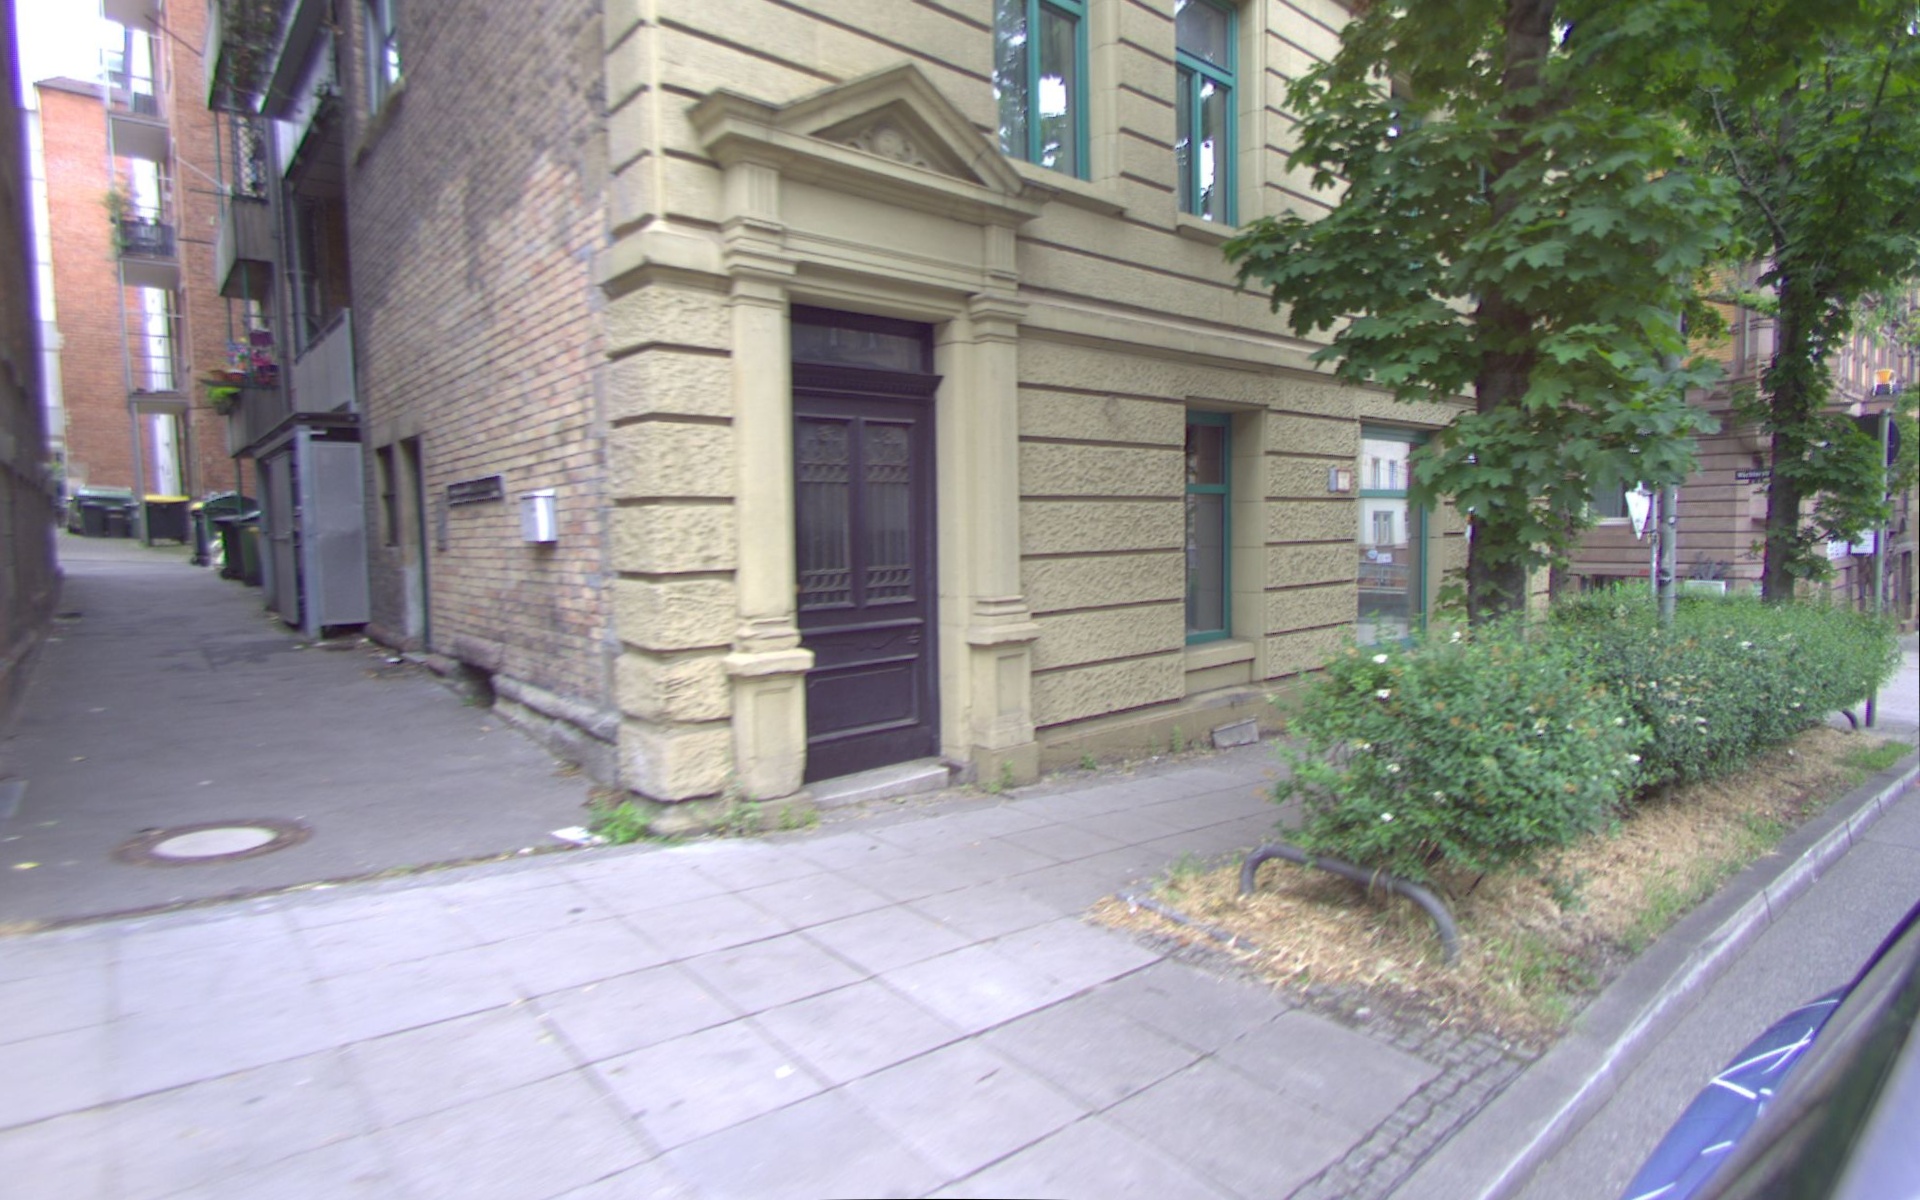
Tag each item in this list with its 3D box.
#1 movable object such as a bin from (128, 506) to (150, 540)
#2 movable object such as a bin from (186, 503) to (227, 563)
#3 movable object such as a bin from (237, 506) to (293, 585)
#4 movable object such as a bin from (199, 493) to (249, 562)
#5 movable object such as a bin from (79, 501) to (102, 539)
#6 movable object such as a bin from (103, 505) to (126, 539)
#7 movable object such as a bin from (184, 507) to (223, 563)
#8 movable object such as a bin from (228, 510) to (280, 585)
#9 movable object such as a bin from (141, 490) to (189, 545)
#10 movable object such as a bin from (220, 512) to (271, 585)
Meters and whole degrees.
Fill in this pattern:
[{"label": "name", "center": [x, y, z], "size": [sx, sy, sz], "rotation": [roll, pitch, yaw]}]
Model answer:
[{"label": "movable object such as a bin", "center": [-25.048, -2.349, 30.881], "size": [0.522, 1.006, 0.653], "rotation": [0, 1, -40]}, {"label": "movable object such as a bin", "center": [-15.826, -1.397, 21.254], "size": [0.643, 1.205, 0.530], "rotation": [0, 1, -41]}, {"label": "movable object such as a bin", "center": [-10.610, -0.822, 15.451], "size": [0.643, 1.182, 0.530], "rotation": [0, 1, -41]}, {"label": "movable object such as a bin", "center": [-14.993, -1.460, 20.613], "size": [0.773, 1.355, 0.572], "rotation": [0, 1, -41]}, {"label": "movable object such as a bin", "center": [-25.904, -2.382, 30.160], "size": [0.522, 1.077, 0.653], "rotation": [0, 1, -40]}, {"label": "movable object such as a bin", "center": [-25.488, -2.348, 30.517], "size": [0.522, 1.006, 0.653], "rotation": [0, 1, -40]}, {"label": "movable object such as a bin", "center": [-16.414, -1.397, 21.968], "size": [0.643, 1.182, 0.530], "rotation": [0, 1, -41]}, {"label": "movable object such as a bin", "center": [-11.416, -0.837, 16.356], "size": [0.643, 1.182, 0.530], "rotation": [0, 1, -41]}, {"label": "movable object such as a bin", "center": [-21.222, -2.188, 27.020], "size": [1.006, 1.393, 0.653], "rotation": [0, 1, -40]}, {"label": "movable object such as a bin", "center": [-11.914, -0.845, 16.872], "size": [0.643, 1.182, 0.530], "rotation": [0, 1, -41]}]
